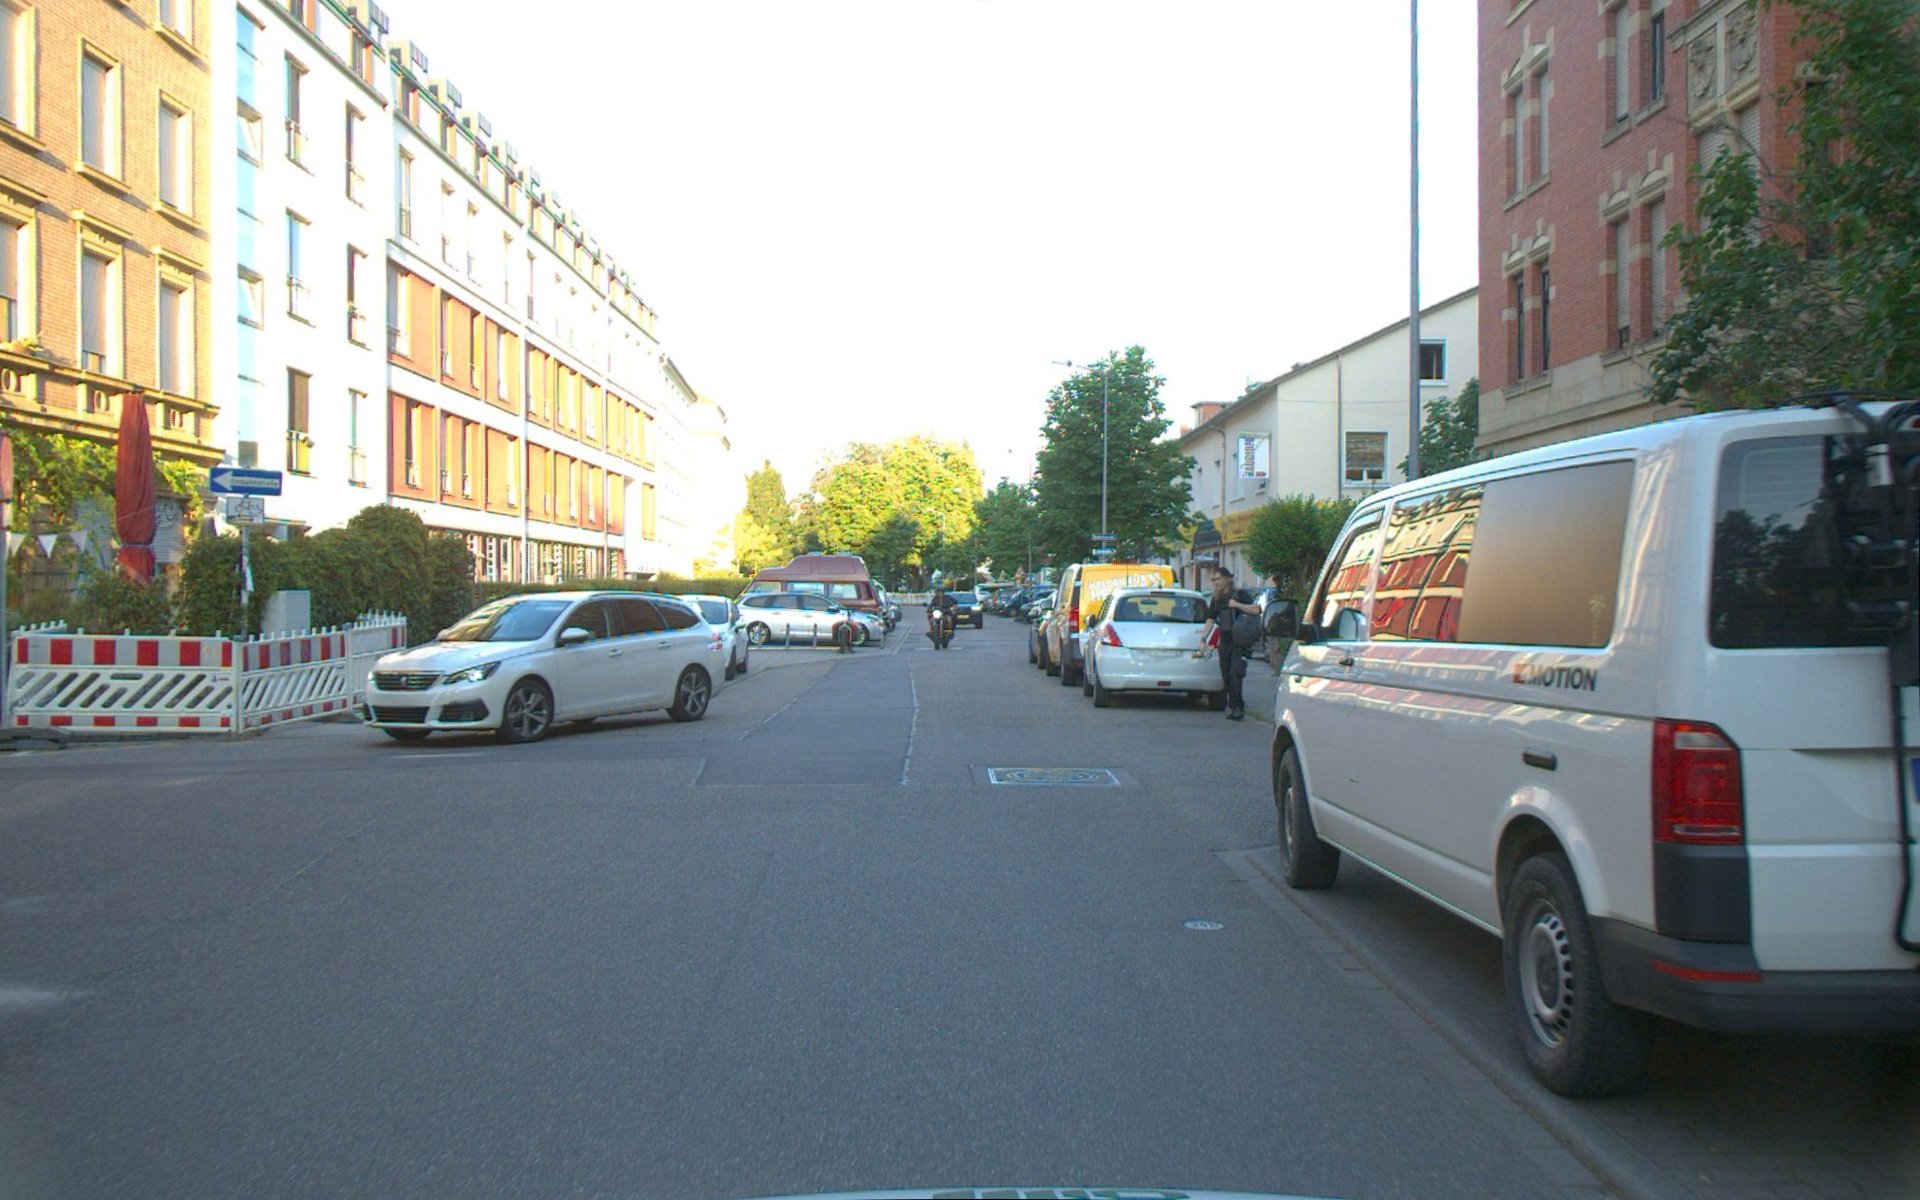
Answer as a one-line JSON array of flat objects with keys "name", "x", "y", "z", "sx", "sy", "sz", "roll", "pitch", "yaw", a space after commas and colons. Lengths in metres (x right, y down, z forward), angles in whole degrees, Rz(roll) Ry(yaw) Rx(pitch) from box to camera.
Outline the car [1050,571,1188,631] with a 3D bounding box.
[{"name": "car", "x": 5.936, "y": 0.029, "z": 62.192, "sx": 4.888, "sy": 2.018, "sz": 2.220, "roll": -2, "pitch": 0, "yaw": 0}]

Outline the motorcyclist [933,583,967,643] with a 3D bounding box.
[{"name": "motorcyclist", "x": -0.271, "y": 0.346, "z": 44.411, "sx": 0.770, "sy": 1.567, "sz": 0.546, "roll": -3, "pitch": 0, "yaw": 9}]

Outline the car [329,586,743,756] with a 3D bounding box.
[{"name": "car", "x": -4.341, "y": 0.652, "z": 17.748, "sx": 1.779, "sy": 1.549, "sz": 4.595, "roll": -1, "pitch": 0, "yaw": 25}]

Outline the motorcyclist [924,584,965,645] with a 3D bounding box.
[{"name": "motorcyclist", "x": -0.410, "y": 0.377, "z": 43.640, "sx": 0.870, "sy": 1.531, "sz": 0.970, "roll": -3, "pitch": 0, "yaw": 9}]

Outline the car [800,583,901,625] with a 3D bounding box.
[{"name": "car", "x": -4.671, "y": 0.157, "z": 70.962, "sx": 4.170, "sy": 1.681, "sz": 1.888, "roll": 1, "pitch": 0, "yaw": -1}]

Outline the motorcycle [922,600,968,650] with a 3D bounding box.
[{"name": "motorcycle", "x": -0.376, "y": 0.644, "z": 43.909, "sx": 0.828, "sy": 1.230, "sz": 2.076, "roll": -3, "pitch": 0, "yaw": 9}]

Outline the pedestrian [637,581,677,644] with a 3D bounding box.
[{"name": "pedestrian", "x": -7.548, "y": 0.313, "z": 41.178, "sx": 0.815, "sy": 1.527, "sz": 0.798, "roll": 1, "pitch": 0, "yaw": 0}]

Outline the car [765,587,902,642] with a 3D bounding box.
[{"name": "car", "x": -3.879, "y": 0.441, "z": 51.115, "sx": 4.125, "sy": 1.565, "sz": 1.790, "roll": 1, "pitch": 0, "yaw": -3}]

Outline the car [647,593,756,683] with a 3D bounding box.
[{"name": "car", "x": -4.783, "y": 0.657, "z": 31.071, "sx": 1.618, "sy": 1.557, "sz": 4.014, "roll": 1, "pitch": 0, "yaw": -3}]

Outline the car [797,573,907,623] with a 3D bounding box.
[{"name": "car", "x": -4.769, "y": -0.087, "z": 73.516, "sx": 4.752, "sy": 2.056, "sz": 1.906, "roll": 1, "pitch": 0, "yaw": -1}]

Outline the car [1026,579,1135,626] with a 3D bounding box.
[{"name": "car", "x": 5.603, "y": 0.098, "z": 77.349, "sx": 4.845, "sy": 1.992, "sz": 2.048, "roll": -2, "pitch": 0, "yaw": -2}]

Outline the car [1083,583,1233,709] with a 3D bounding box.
[{"name": "car", "x": 2.545, "y": 0.547, "z": 22.019, "sx": 1.640, "sy": 1.503, "sz": 3.863, "roll": 1, "pitch": 0, "yaw": 2}]

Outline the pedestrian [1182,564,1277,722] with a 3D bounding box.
[{"name": "pedestrian", "x": 3.103, "y": 0.475, "z": 18.993, "sx": 0.870, "sy": 1.752, "sz": 0.959, "roll": 1, "pitch": 0, "yaw": 20}]

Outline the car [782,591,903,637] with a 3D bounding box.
[{"name": "car", "x": -4.135, "y": 0.491, "z": 58.720, "sx": 4.123, "sy": 1.516, "sz": 1.850, "roll": 1, "pitch": 0, "yaw": 0}]

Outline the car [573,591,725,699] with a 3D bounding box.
[{"name": "car", "x": -4.797, "y": 0.641, "z": 25.971, "sx": 1.669, "sy": 1.561, "sz": 3.844, "roll": 0, "pitch": 0, "yaw": -1}]

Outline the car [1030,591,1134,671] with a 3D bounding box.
[{"name": "car", "x": 2.358, "y": 0.574, "z": 32.951, "sx": 1.686, "sy": 1.449, "sz": 4.252, "roll": 1, "pitch": 0, "yaw": -1}]

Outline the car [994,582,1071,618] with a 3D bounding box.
[{"name": "car", "x": 4.337, "y": -0.007, "z": 99.761, "sx": 4.392, "sy": 1.945, "sz": 1.686, "roll": -2, "pitch": 0, "yaw": -6}]

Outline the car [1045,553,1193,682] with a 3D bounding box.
[{"name": "car", "x": 2.504, "y": 0.253, "z": 27.271, "sx": 1.855, "sy": 1.917, "sz": 5.081, "roll": 1, "pitch": 0, "yaw": -1}]

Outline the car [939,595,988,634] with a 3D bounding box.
[{"name": "car", "x": 0.177, "y": 0.595, "z": 70.219, "sx": 1.742, "sy": 1.544, "sz": 4.003, "roll": -1, "pitch": 0, "yaw": 5}]

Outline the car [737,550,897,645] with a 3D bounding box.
[{"name": "car", "x": -4.146, "y": -0.077, "z": 48.543, "sx": 4.418, "sy": 2.629, "sz": 2.000, "roll": 1, "pitch": 0, "yaw": 1}]

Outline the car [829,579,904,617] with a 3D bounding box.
[{"name": "car", "x": -5.746, "y": -0.132, "z": 102.009, "sx": 4.441, "sy": 2.171, "sz": 2.000, "roll": 1, "pitch": 0, "yaw": -1}]

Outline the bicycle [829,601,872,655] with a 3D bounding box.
[{"name": "bicycle", "x": -2.680, "y": 0.669, "z": 40.685, "sx": 0.791, "sy": 1.243, "sz": 2.865, "roll": 1, "pitch": 0, "yaw": 1}]

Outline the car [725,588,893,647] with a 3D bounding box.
[{"name": "car", "x": -4.153, "y": 0.474, "z": 45.966, "sx": 4.524, "sy": 1.486, "sz": 1.879, "roll": 1, "pitch": 0, "yaw": -4}]

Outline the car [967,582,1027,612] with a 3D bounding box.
[{"name": "car", "x": 2.580, "y": -0.230, "z": 115.337, "sx": 3.891, "sy": 1.945, "sz": 2.047, "roll": -2, "pitch": 0, "yaw": -6}]

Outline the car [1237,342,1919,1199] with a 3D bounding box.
[{"name": "car", "x": 2.618, "y": 0.386, "z": 6.788, "sx": 1.824, "sy": 2.074, "sz": 5.543, "roll": -2, "pitch": 0, "yaw": -2}]

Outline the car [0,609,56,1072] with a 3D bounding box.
[{"name": "car", "x": -3.823, "y": 0.780, "z": 3.389, "sx": 1.641, "sy": 1.487, "sz": 4.461, "roll": 1, "pitch": 0, "yaw": -3}]
